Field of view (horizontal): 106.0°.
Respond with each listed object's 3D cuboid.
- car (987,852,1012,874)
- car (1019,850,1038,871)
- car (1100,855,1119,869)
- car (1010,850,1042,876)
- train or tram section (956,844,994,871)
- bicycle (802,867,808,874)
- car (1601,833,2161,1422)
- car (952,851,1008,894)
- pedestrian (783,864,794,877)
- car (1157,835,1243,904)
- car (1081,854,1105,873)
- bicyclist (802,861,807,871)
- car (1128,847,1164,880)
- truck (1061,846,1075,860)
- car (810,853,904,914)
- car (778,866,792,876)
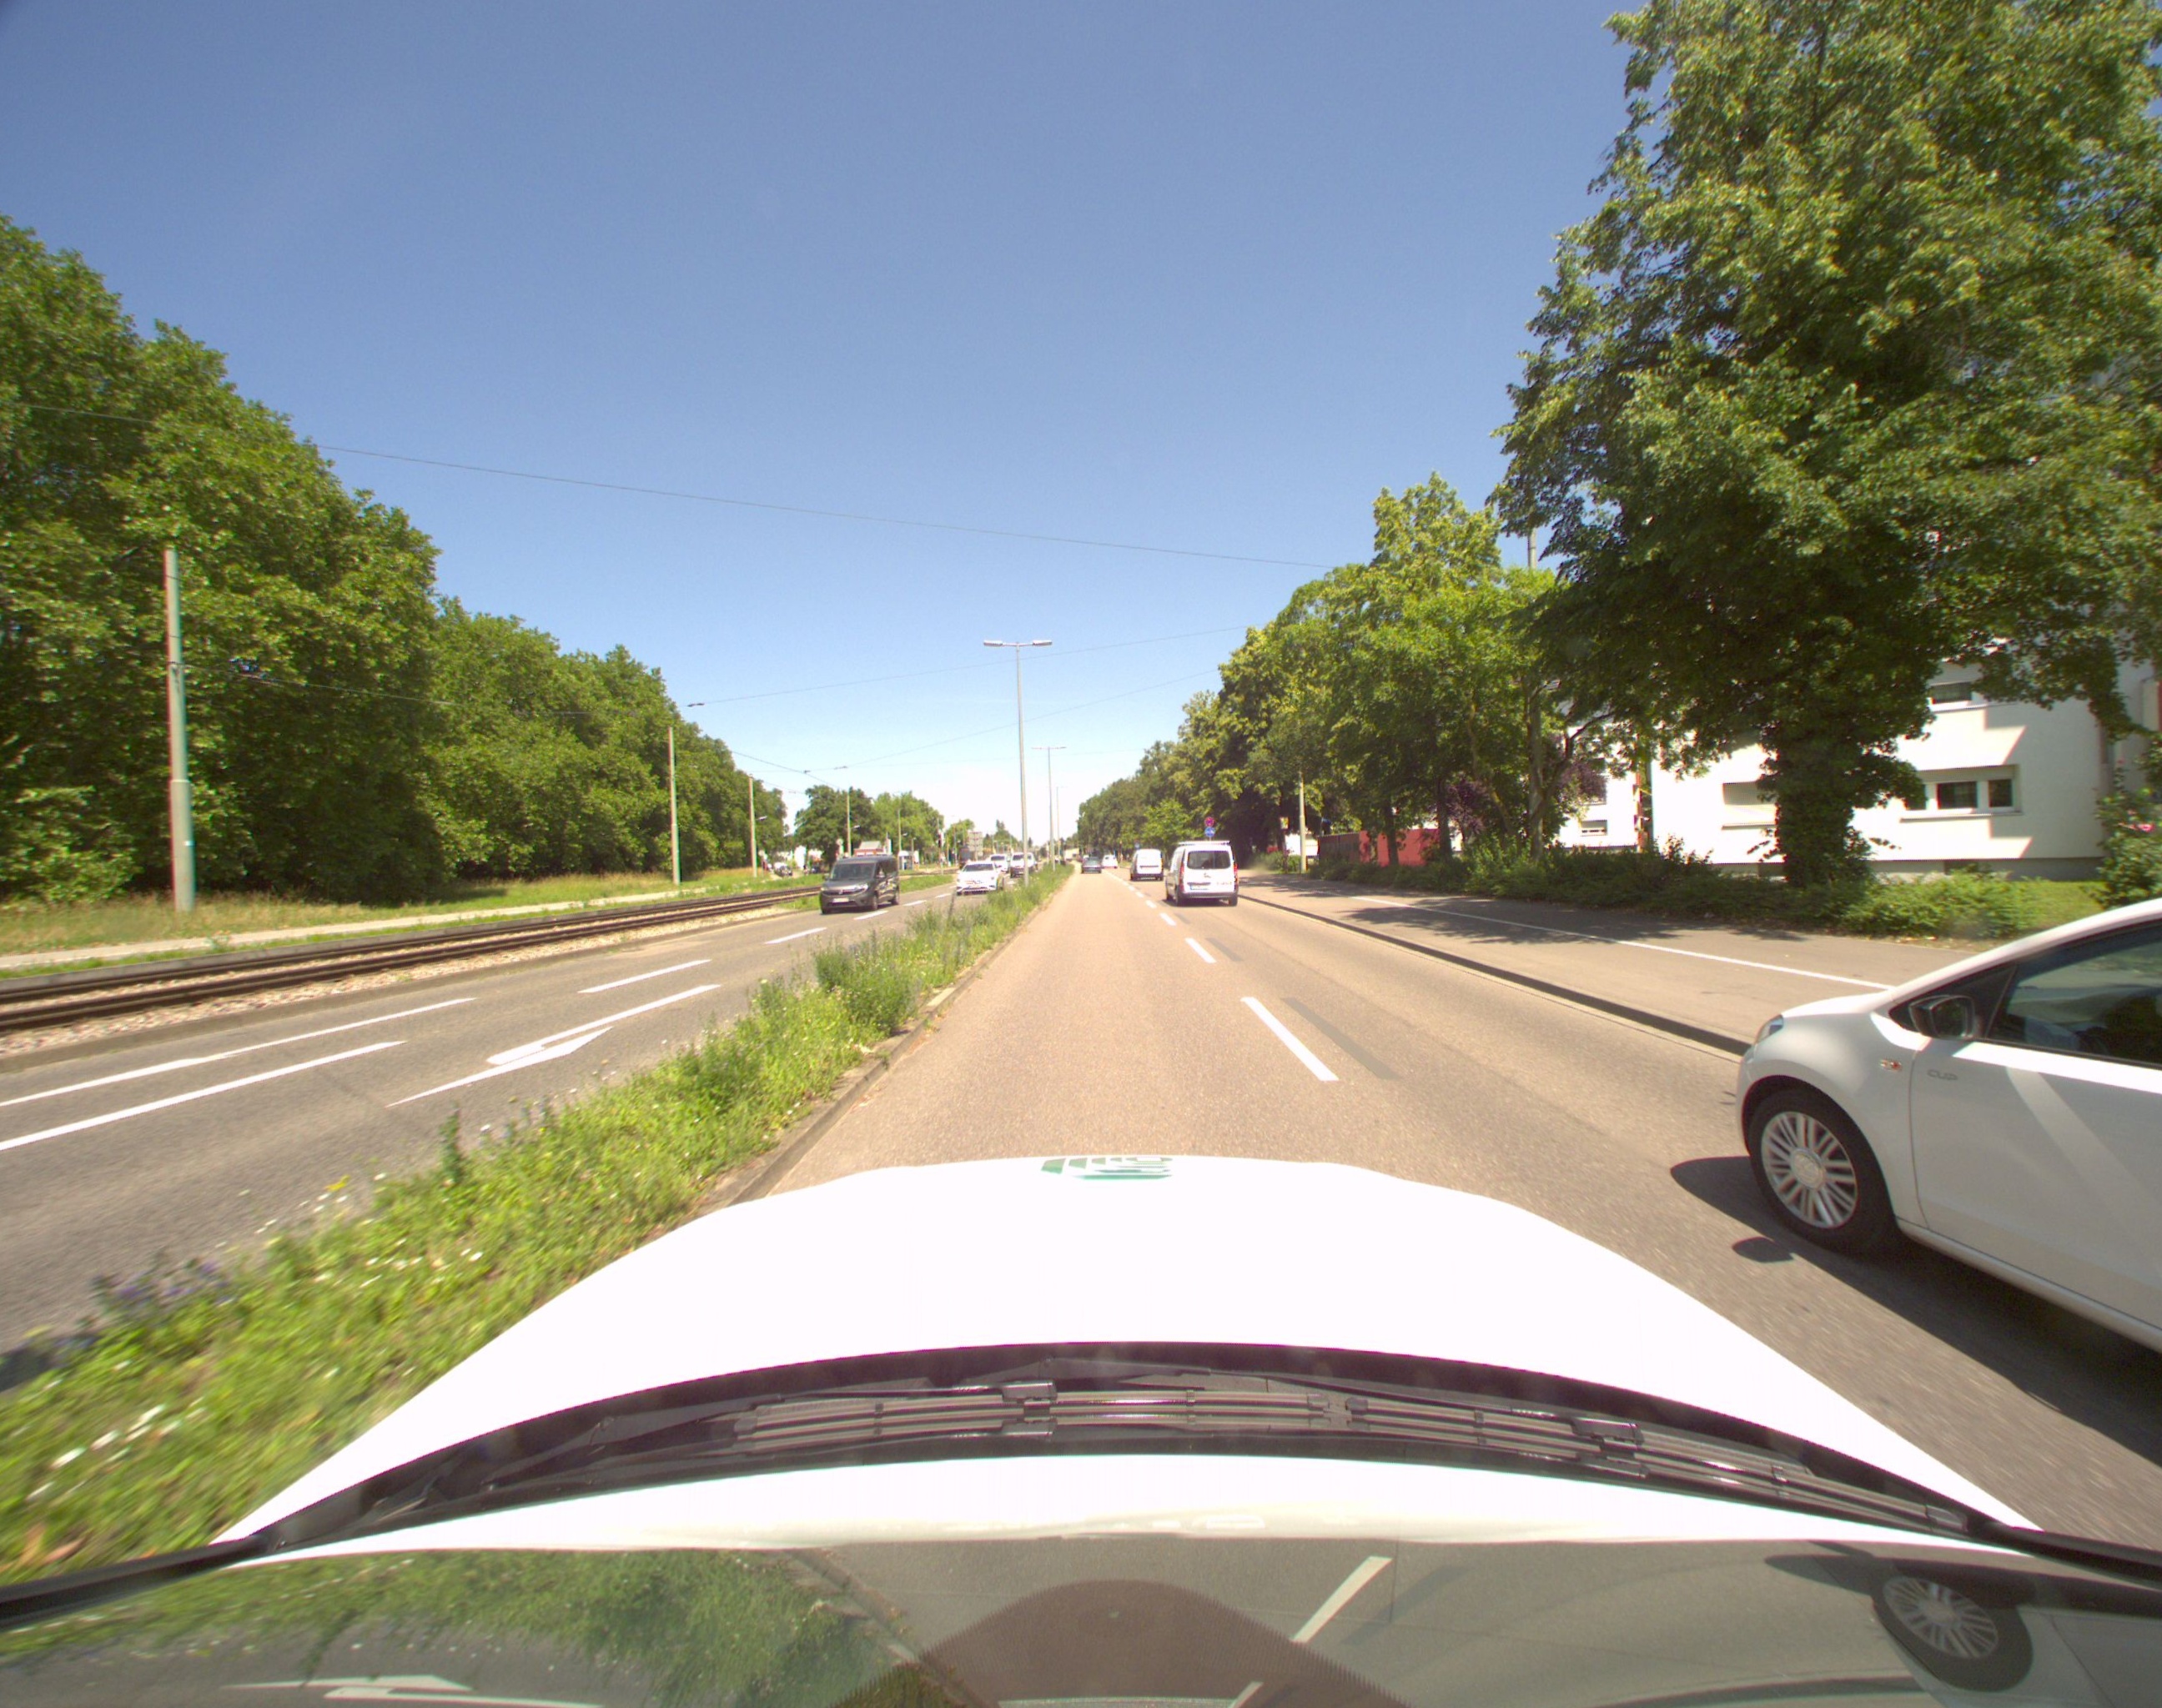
[{"bbox_3d":[-8.303,0.891,83.426,1.883,2.017,5.081,-4,0,-1],"label":"car"},{"bbox_3d":[-6.386,0.742,99.142,1.988,2.366,5.370,-3,0,-1],"label":"car"},{"bbox_3d":[3.286,0.948,93.534,1.799,1.540,3.995,-2,0,-3],"label":"car"},{"bbox_3d":[-4.325,0.681,64.743,1.823,1.906,5.568,-3,0,2],"label":"car"},{"bbox_3d":[-16.600,0.563,130.784,2.781,3.668,37.480,-2,0,-2],"label":"train or tram section"},{"bbox_3d":[-36.344,2.146,107.275,0.507,0.901,1.561,-2,0,-8],"label":"bicycle"},{"bbox_3d":[3.481,0.661,2.263,1.653,1.449,3.855,-1,0,1],"label":"car"},{"bbox_3d":[-4.501,0.802,36.843,1.823,1.738,4.039,-3,0,2],"label":"car"},{"bbox_3d":[-38.892,2.205,108.334,0.511,1.701,1.278,-2,-1,42],"label":"pedestrian"},{"bbox_3d":[3.526,0.437,24.869,1.819,1.882,4.452,-1,0,-2],"label":"car"},{"bbox_3d":[0.997,0.782,69.718,1.797,1.486,3.997,-2,0,-2],"label":"car"},{"bbox_3d":[-36.330,1.548,107.066,0.507,1.336,0.678,-2,0,-8],"label":"bicyclist"},{"bbox_3d":[3.764,0.498,47.566,1.723,1.814,3.998,-1,0,-1],"label":"car"},{"bbox_3d":[-3.957,-0.281,247.050,3.890,3.812,10.781,-2,0,-3],"label":"truck"},{"bbox_3d":[-7.561,0.928,27.973,1.824,1.801,4.613,-3,0,0],"label":"car"},{"bbox_3d":[-47.437,2.720,130.440,2.002,1.467,3.969,-2,0,-23],"label":"car"}]
